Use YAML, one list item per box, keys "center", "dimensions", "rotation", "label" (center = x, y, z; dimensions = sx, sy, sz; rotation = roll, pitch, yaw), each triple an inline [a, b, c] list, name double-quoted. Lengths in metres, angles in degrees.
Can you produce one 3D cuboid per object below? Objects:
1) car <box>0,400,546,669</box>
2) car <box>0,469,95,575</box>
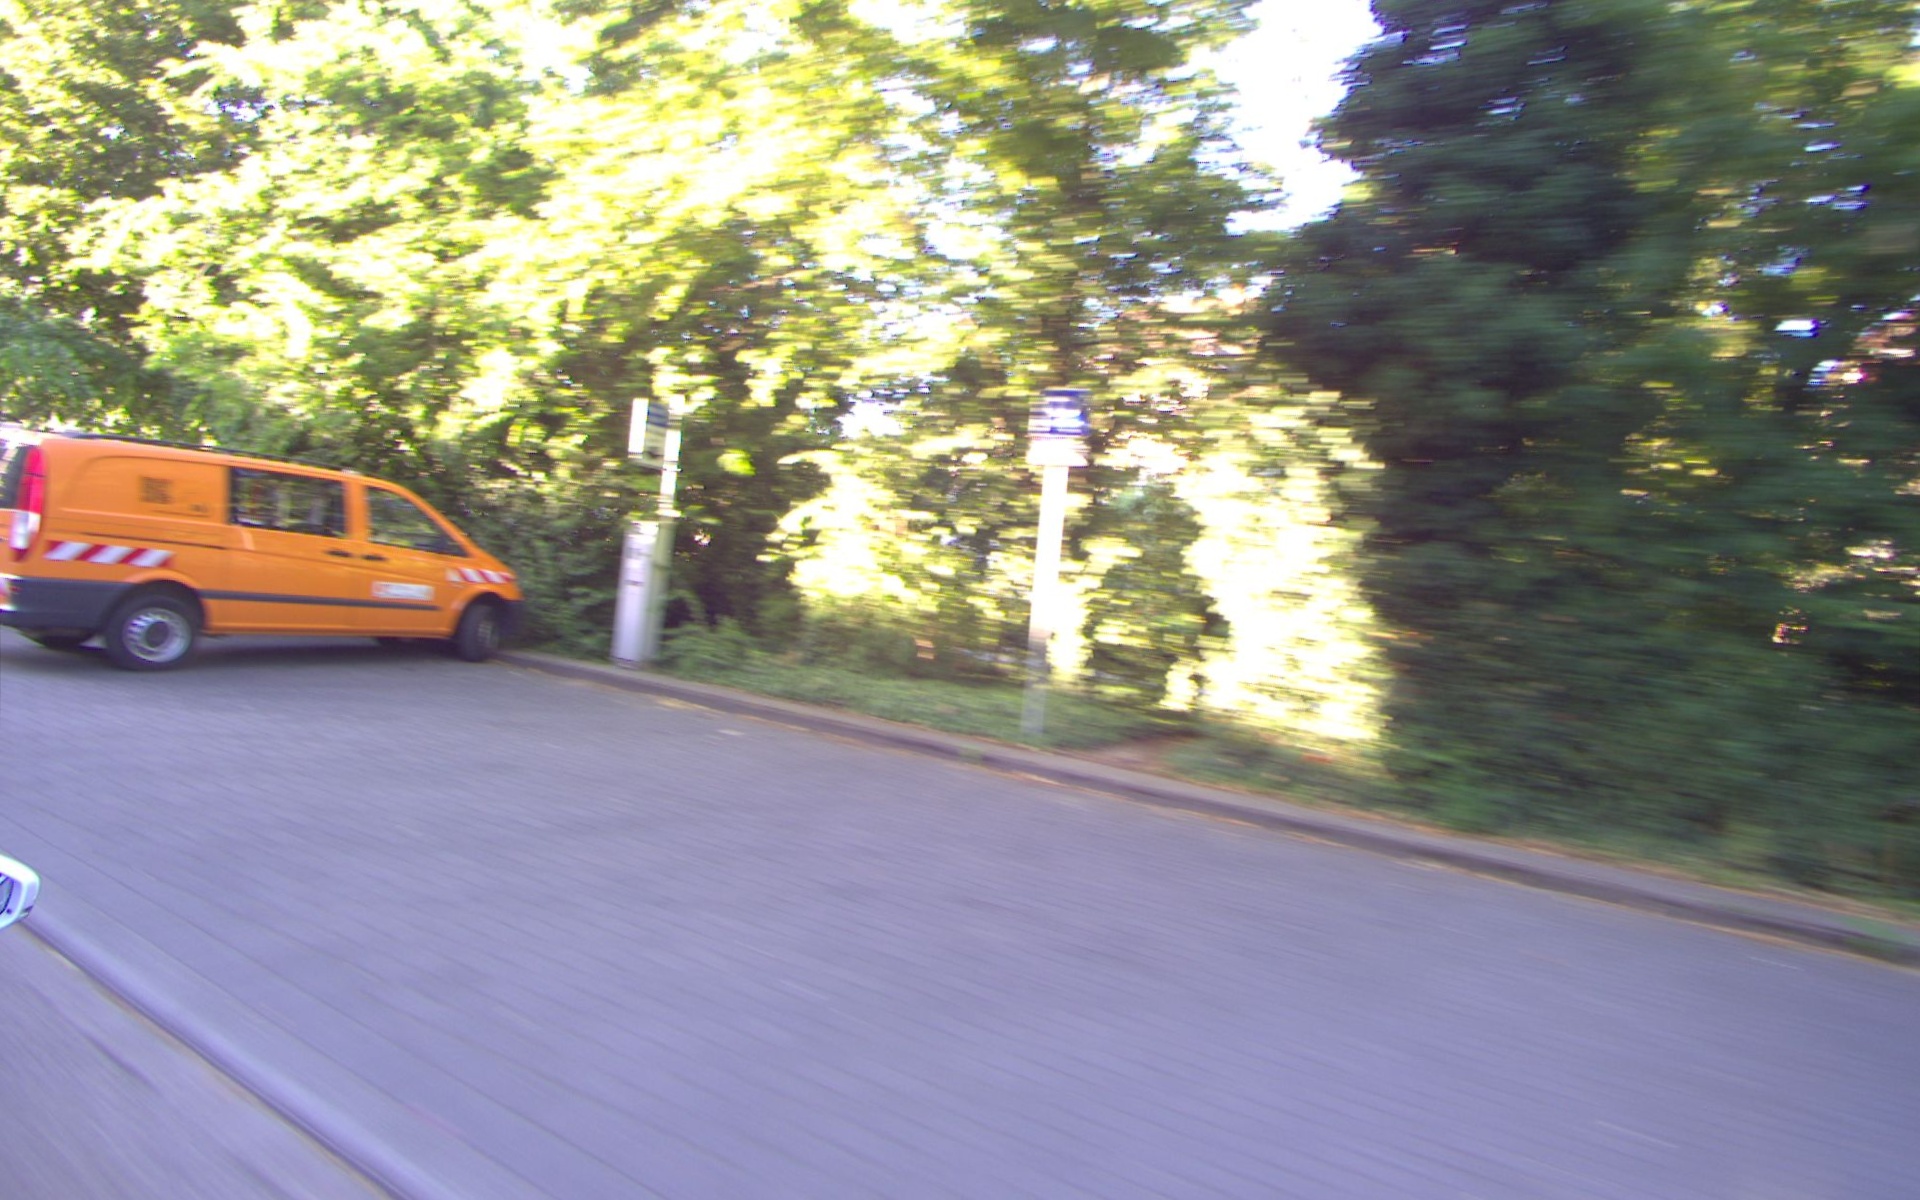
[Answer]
- center: [-6.946, -0.533, 10.204]
  dimensions: [2.044, 2.024, 4.801]
  rotation: [7, 2, 27]
  label: "car"
- center: [-15.954, -1.346, 15.205]
  dimensions: [1.705, 1.567, 3.989]
  rotation: [7, 2, 30]
  label: "car"
